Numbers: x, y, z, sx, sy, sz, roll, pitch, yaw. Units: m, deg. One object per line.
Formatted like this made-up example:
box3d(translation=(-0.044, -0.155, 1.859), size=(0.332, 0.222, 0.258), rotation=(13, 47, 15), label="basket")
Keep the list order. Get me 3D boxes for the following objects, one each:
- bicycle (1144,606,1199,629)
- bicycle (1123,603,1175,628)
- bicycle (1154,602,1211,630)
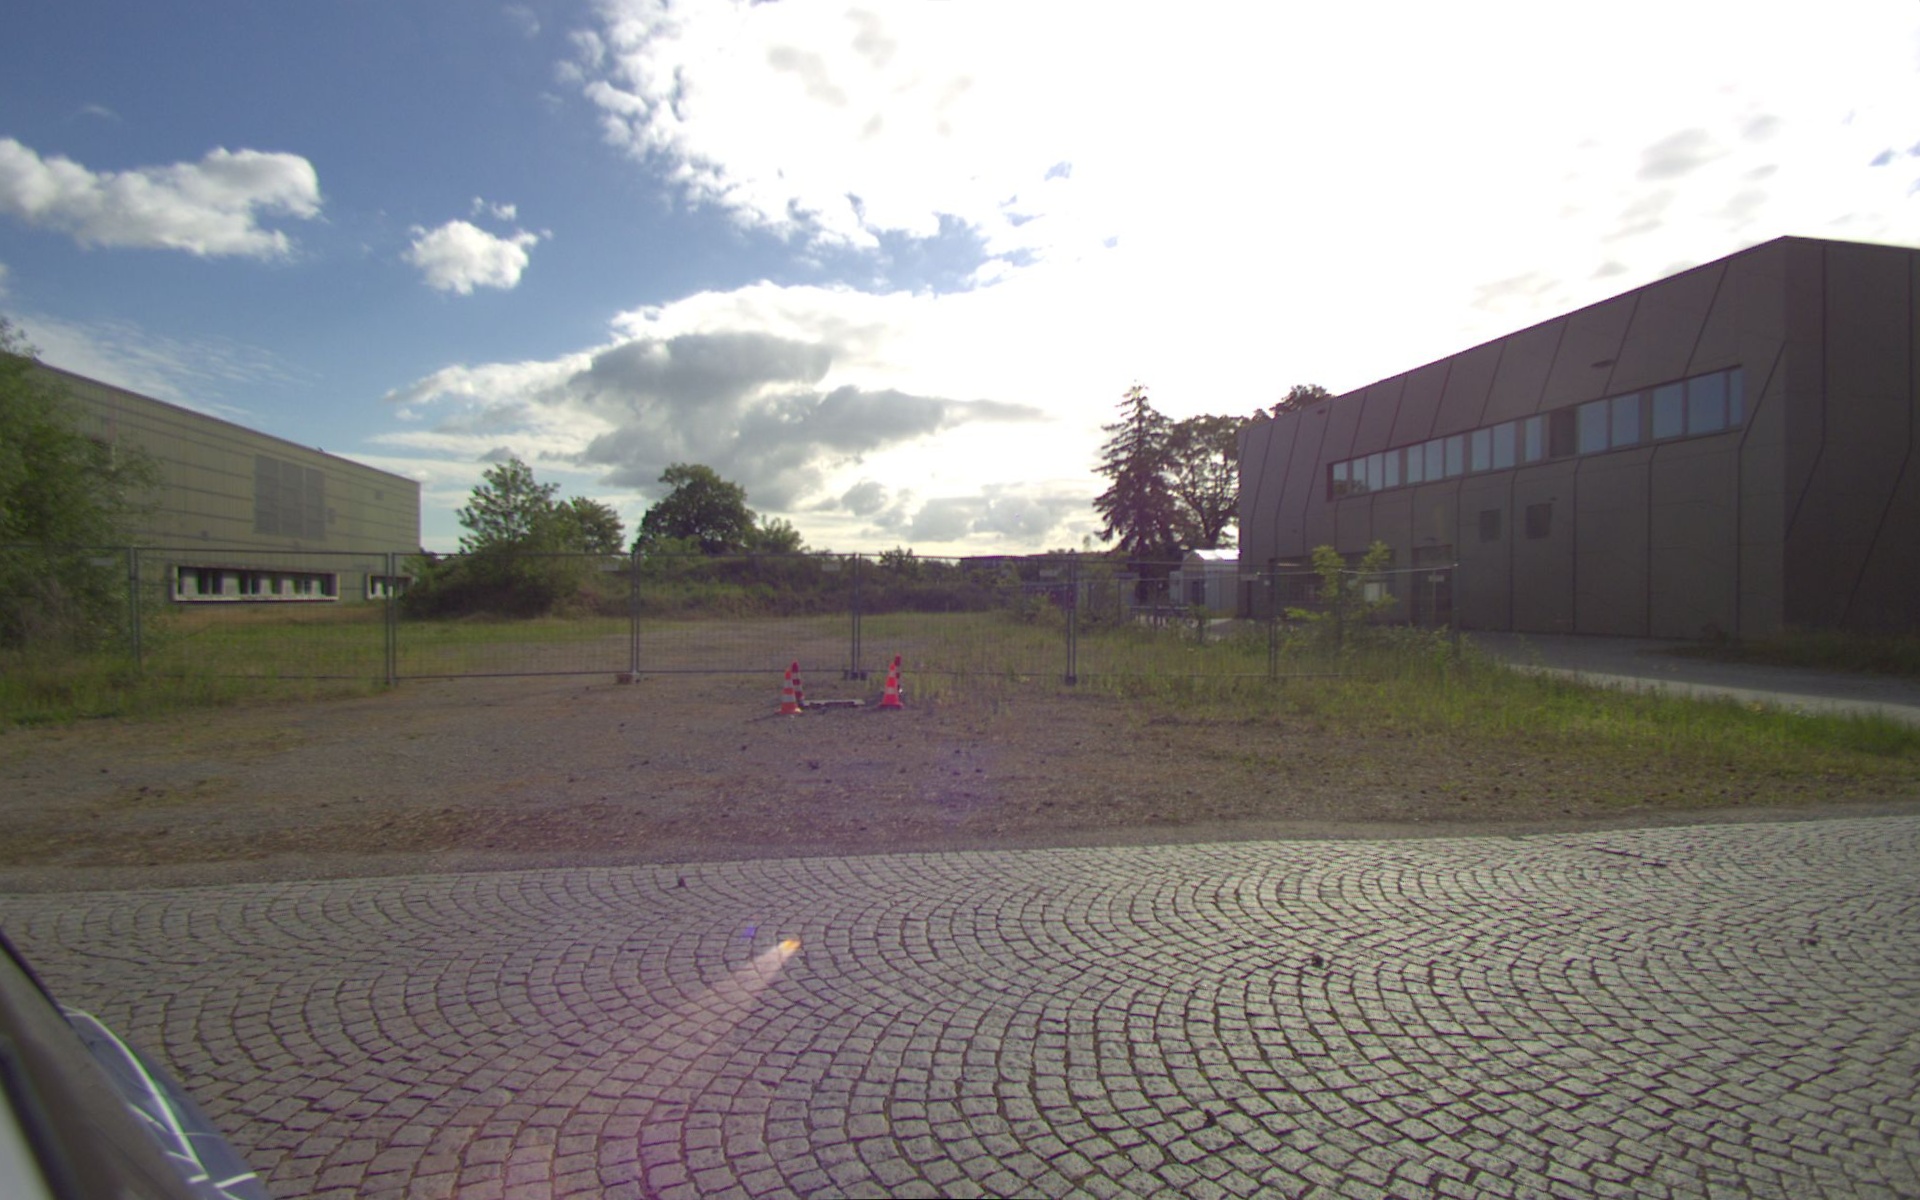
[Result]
box3d(translation=(8.887, 0.724, 42.485), size=(2.035, 0.928, 0.948), rotation=(0, 0, -12), label="bicycle")
box3d(translation=(8.329, 0.677, 44.553), size=(2.035, 1.052, 0.948), rotation=(0, 0, -12), label="bicycle")
box3d(translation=(9.060, 0.645, 41.241), size=(2.035, 1.095, 0.948), rotation=(0, 0, -12), label="bicycle")
